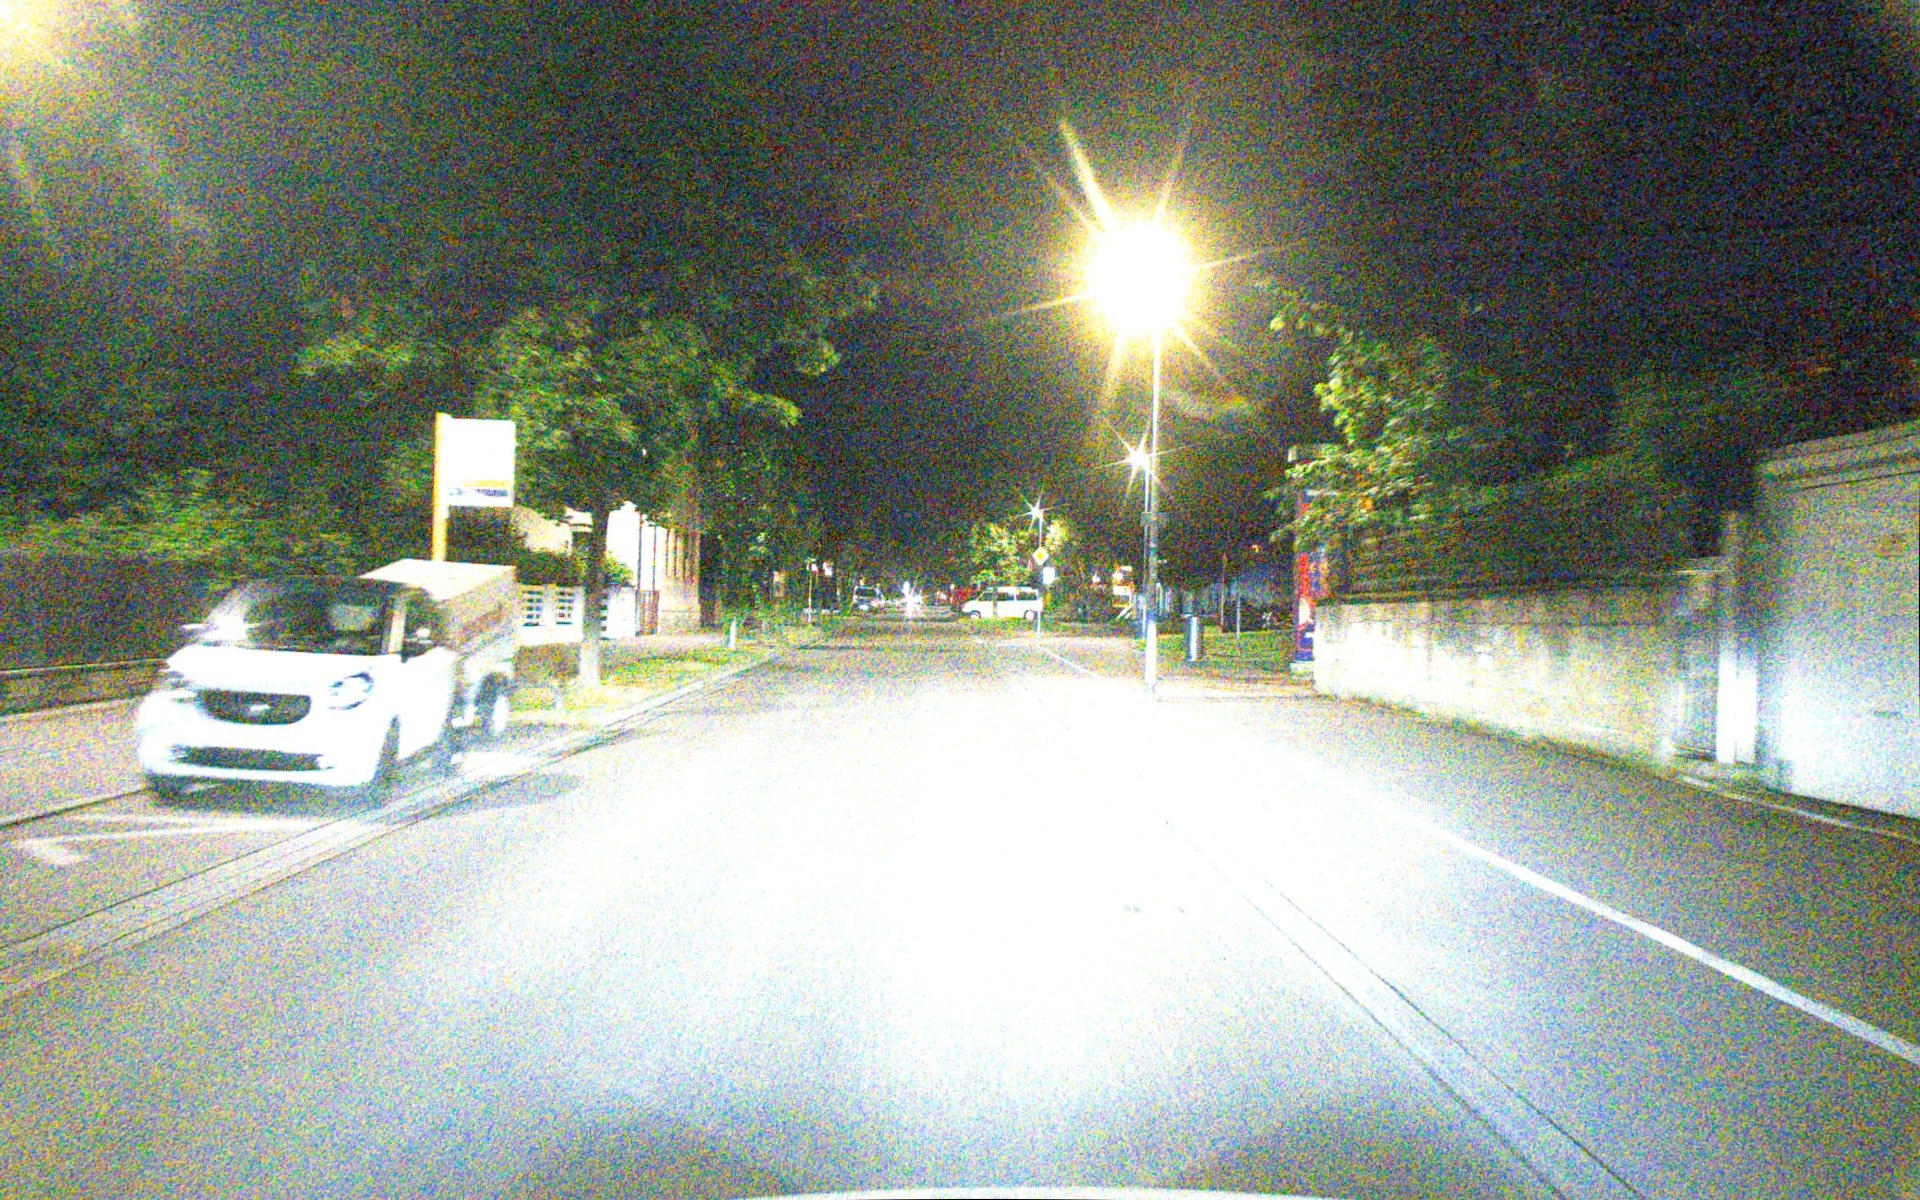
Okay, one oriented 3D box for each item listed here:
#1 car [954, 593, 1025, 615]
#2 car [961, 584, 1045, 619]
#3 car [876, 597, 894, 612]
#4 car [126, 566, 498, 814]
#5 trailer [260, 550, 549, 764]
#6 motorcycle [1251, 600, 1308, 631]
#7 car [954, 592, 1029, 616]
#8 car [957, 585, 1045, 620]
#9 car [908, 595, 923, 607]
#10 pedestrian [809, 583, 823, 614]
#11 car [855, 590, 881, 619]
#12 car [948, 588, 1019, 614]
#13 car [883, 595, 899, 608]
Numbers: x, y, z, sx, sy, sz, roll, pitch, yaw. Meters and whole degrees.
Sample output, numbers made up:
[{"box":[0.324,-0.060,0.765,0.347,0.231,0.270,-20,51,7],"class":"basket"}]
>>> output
[{"box":[2.143,0.284,120.902,5.078,1.495,2.101,-1,0,-3],"class":"car"},{"box":[2.623,0.087,101.925,5.078,2.049,2.101,-1,0,-3],"class":"car"},{"box":[-6.964,0.442,154.543,1.649,1.354,3.597,1,0,-3],"class":"car"},{"box":[-4.698,0.593,12.432,1.638,1.548,2.977,3,0,-3],"class":"car"},{"box":[-5.111,0.479,15.653,1.418,1.717,3.426,3,0,1],"class":"trailer"},{"box":[13.130,0.628,68.032,2.223,1.235,0.708,-1,0,-17],"class":"motorcycle"},{"box":[2.179,0.260,115.387,5.078,1.622,2.101,-1,0,-3],"class":"car"},{"box":[2.423,0.130,98.855,5.078,2.049,2.101,-1,0,-3],"class":"car"},{"box":[-6.207,0.088,230.399,1.888,1.677,3.819,0,0,-3],"class":"car"},{"box":[-9.676,-0.090,111.431,0.769,2.049,1.204,2,0,-1],"class":"pedestrian"},{"box":[-6.772,0.348,122.215,1.788,2.021,4.463,3,0,-3],"class":"car"},{"box":[1.797,0.073,123.612,5.072,1.920,2.103,-1,0,8],"class":"car"},{"box":[-7.155,0.164,171.347,1.649,1.354,3.597,1,0,-3],"class":"car"}]
